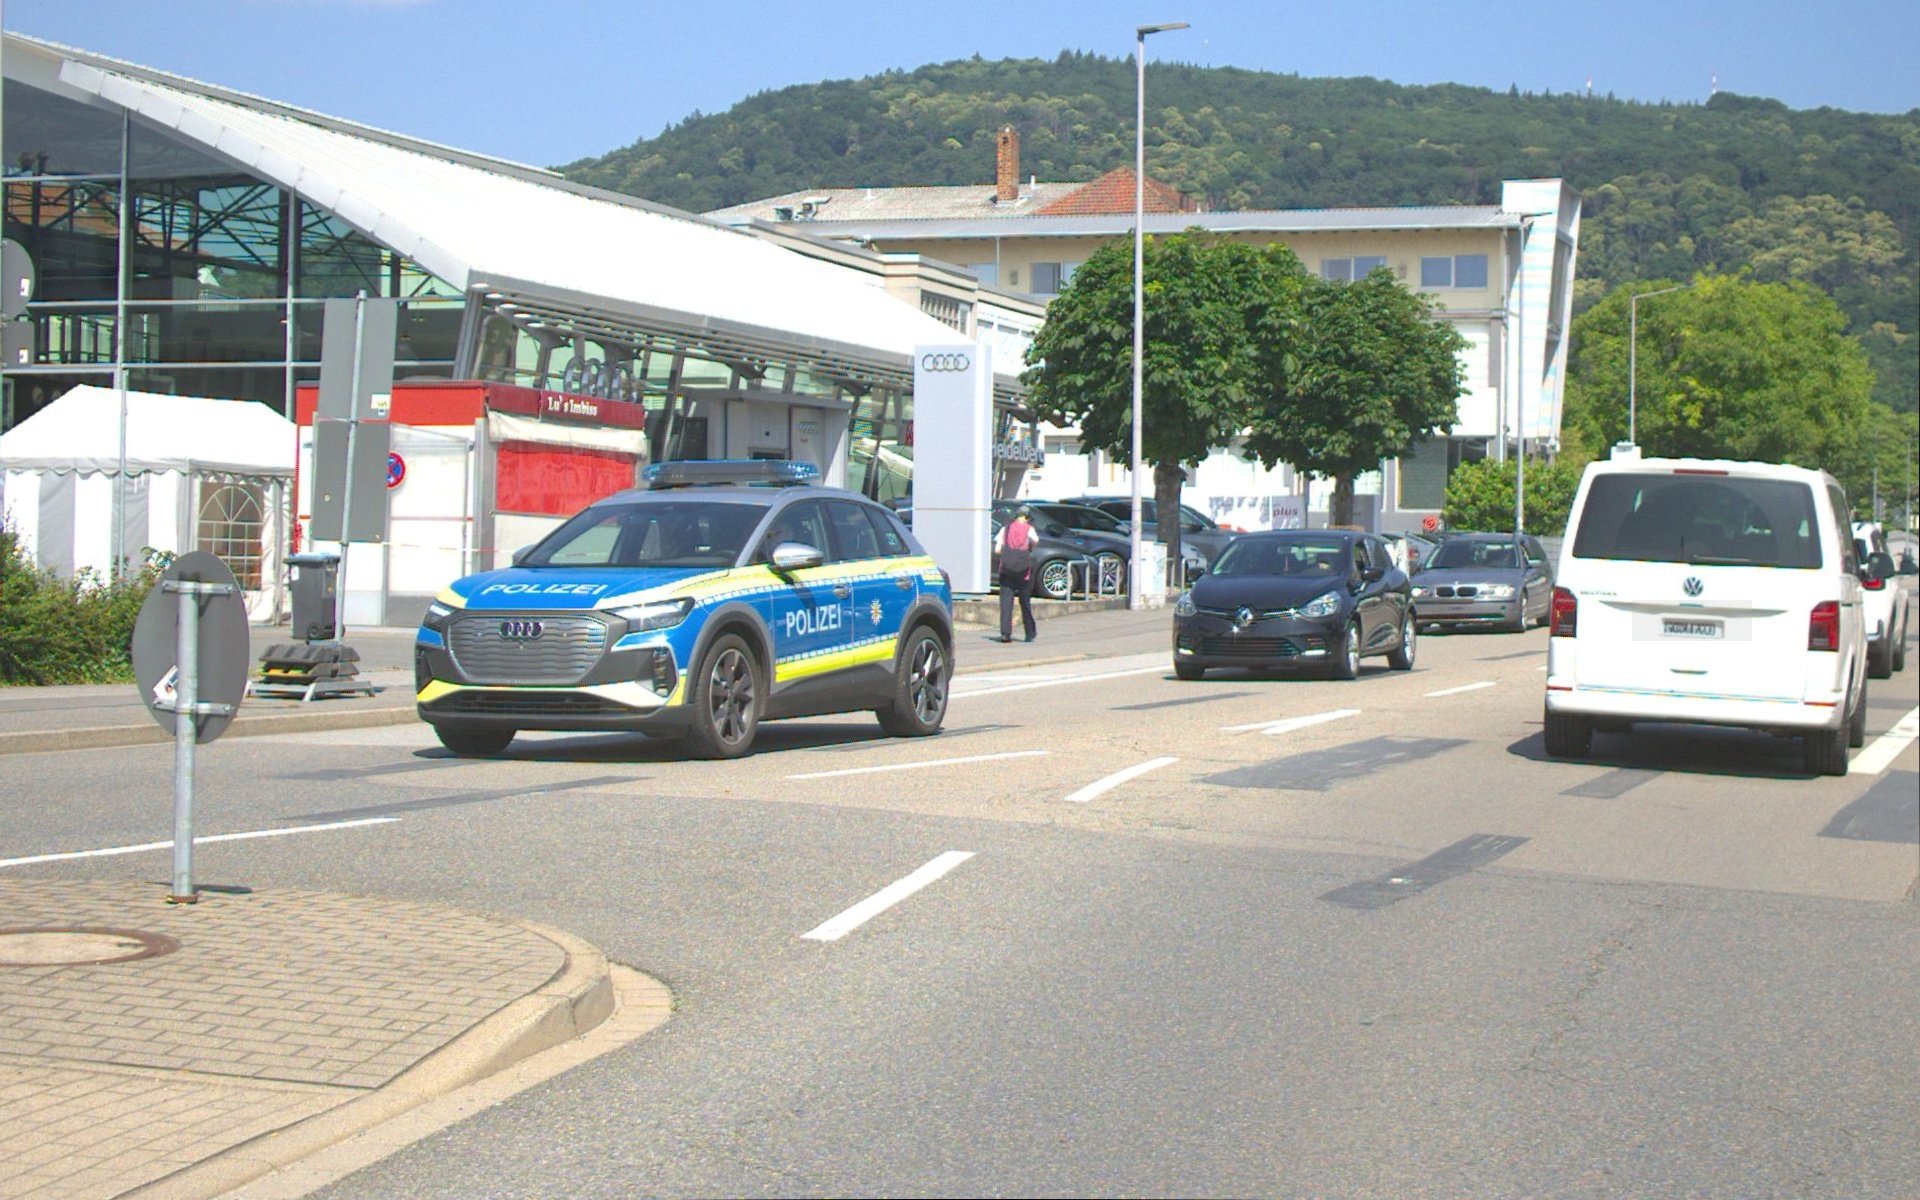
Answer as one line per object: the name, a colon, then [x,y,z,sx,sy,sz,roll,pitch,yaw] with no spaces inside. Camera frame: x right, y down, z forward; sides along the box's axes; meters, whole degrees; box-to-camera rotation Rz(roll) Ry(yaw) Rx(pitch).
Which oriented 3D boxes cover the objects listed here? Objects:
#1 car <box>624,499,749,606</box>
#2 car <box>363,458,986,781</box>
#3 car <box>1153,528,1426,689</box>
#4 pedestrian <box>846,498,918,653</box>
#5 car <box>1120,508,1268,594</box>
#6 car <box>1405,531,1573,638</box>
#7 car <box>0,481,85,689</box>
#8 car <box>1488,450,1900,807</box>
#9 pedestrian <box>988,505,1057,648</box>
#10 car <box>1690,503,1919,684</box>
car: [-4.239,-0.754,53.666,1.745,1.579,3.662,1,1,-2]
car: [-1.603,0.047,21.079,1.911,1.754,4.446,1,2,24]
car: [3.297,0.029,33.706,1.843,1.459,3.997,1,1,18]
pedestrian: [-0.909,-0.291,40.109,0.759,1.782,0.784,1,1,3]
car: [4.458,-0.954,65.982,1.745,1.579,3.662,0,1,-15]
car: [7.721,-0.260,49.901,1.843,1.459,3.997,1,1,17]
car: [-8.686,-0.114,26.115,1.996,1.612,3.996,1,1,22]
car: [5.119,0.088,23.409,2.164,2.006,5.014,5,3,17]
pedestrian: [0.800,-0.306,43.774,0.760,1.782,0.927,1,1,7]
car: [9.058,-0.072,36.544,1.995,1.701,3.996,4,1,18]
